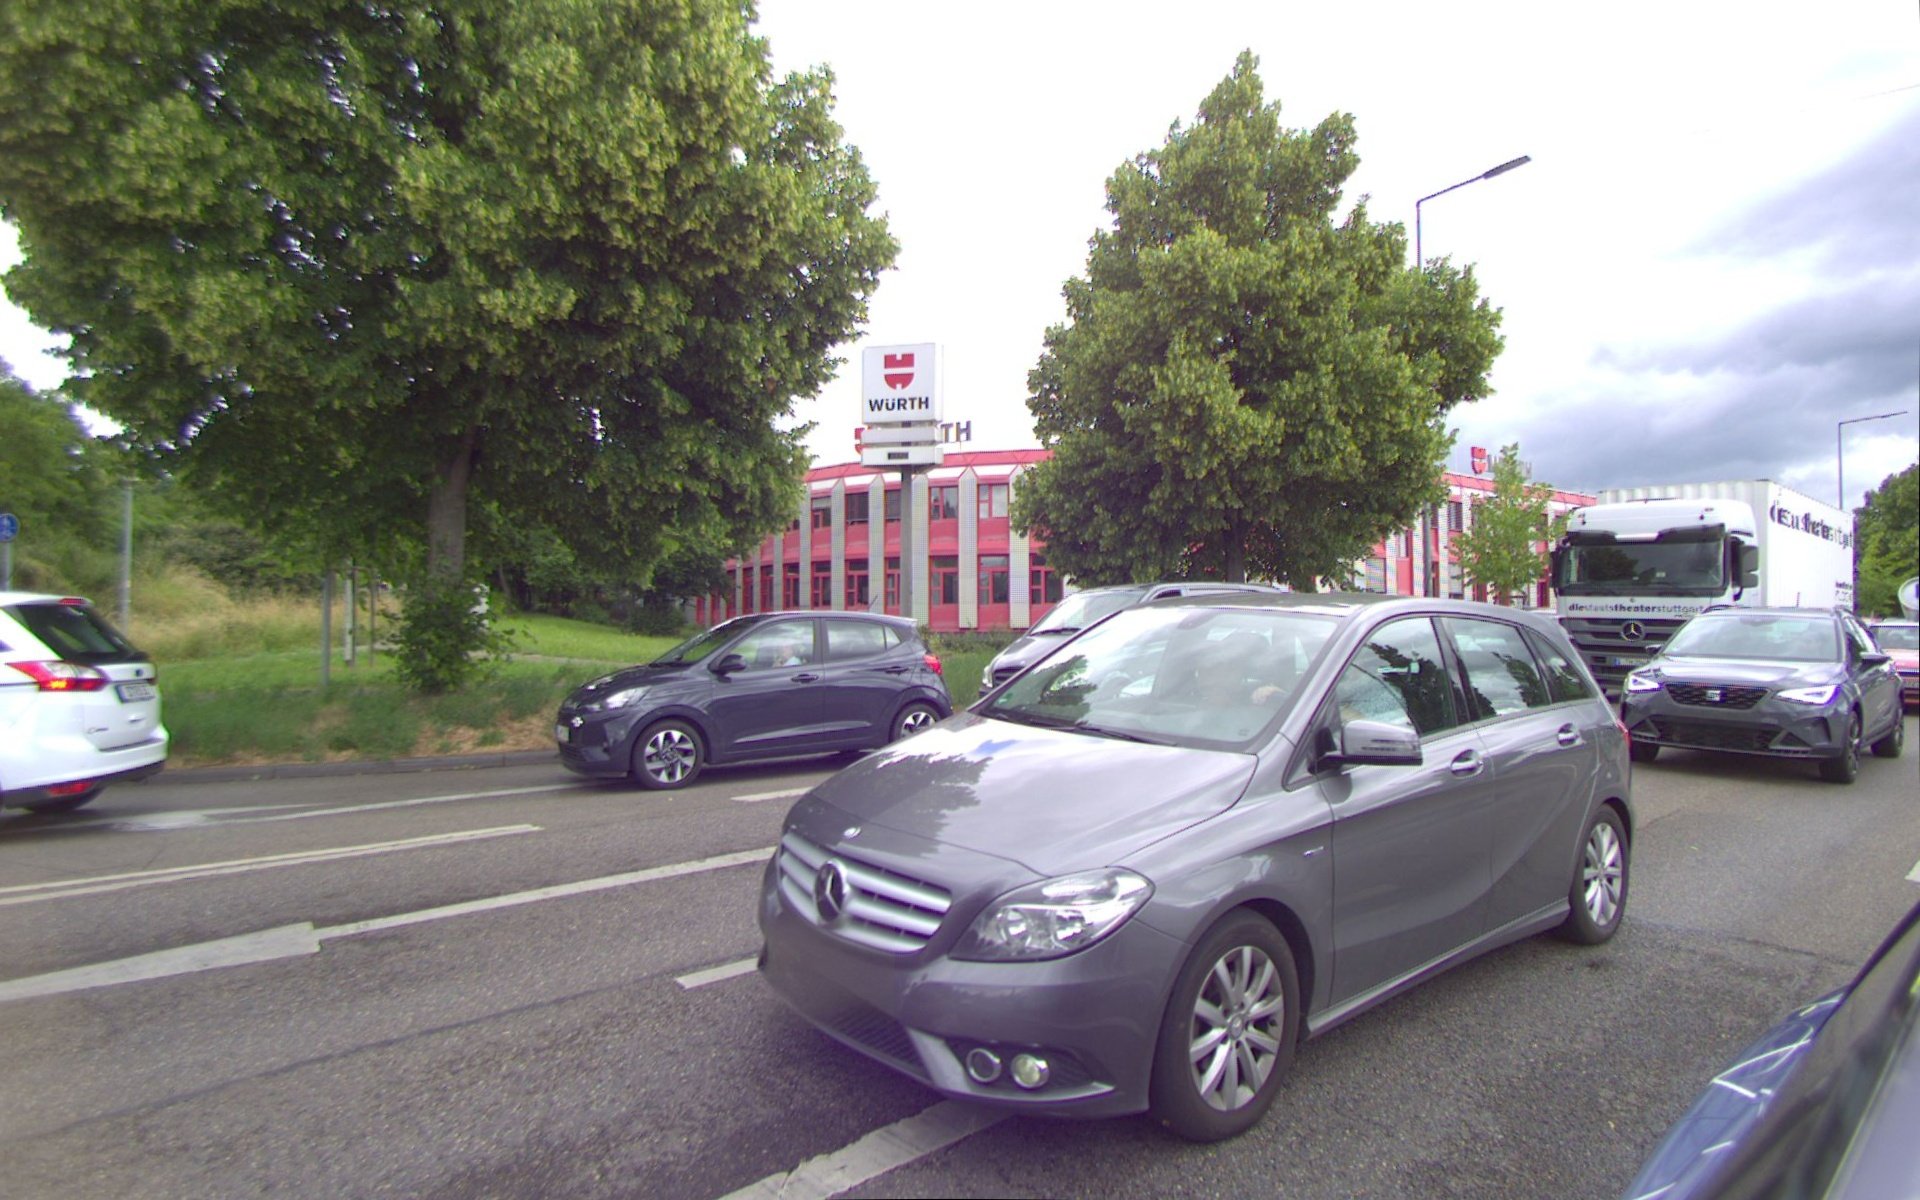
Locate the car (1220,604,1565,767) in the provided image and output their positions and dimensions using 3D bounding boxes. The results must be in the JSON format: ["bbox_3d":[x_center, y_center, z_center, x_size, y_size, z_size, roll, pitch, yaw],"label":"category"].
[{"bbox_3d":[4.747,0.748,10.826,4.215,1.400,1.749,0,0,-41],"label":"car"}]

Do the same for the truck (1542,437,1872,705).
[{"bbox_3d":[14.534,-0.418,19.229,10.000,3.953,2.808,0,0,-40],"label":"truck"}]

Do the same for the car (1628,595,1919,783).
[{"bbox_3d":[8.141,0.740,9.994,3.769,1.512,1.627,1,-1,-41],"label":"car"}]

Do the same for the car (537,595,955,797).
[{"bbox_3d":[-1.936,0.735,9.486,3.495,1.525,1.608,-1,0,-34],"label":"car"}]

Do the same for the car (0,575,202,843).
[{"bbox_3d":[-7.860,0.694,6.628,4.278,1.676,1.767,0,-1,-20],"label":"car"}]

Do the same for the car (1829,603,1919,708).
[{"bbox_3d":[15.313,0.848,16.001,3.431,1.525,1.825,2,-1,-39],"label":"car"}]

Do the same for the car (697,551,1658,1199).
[{"bbox_3d":[1.162,0.682,4.157,3.974,1.527,1.750,1,-1,-39],"label":"car"}]

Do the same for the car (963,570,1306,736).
[{"bbox_3d":[2.382,0.634,13.097,4.591,1.798,1.761,0,-4,-40],"label":"car"}]

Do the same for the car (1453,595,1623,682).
[{"bbox_3d":[12.379,0.805,21.588,4.133,1.679,1.863,1,-3,-41],"label":"car"}]

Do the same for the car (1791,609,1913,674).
[{"bbox_3d":[23.313,1.043,26.406,4.299,1.549,1.850,1,-1,-41],"label":"car"}]

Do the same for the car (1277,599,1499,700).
[{"bbox_3d":[7.394,0.800,17.328,4.034,1.536,1.842,0,-4,-41],"label":"car"}]
